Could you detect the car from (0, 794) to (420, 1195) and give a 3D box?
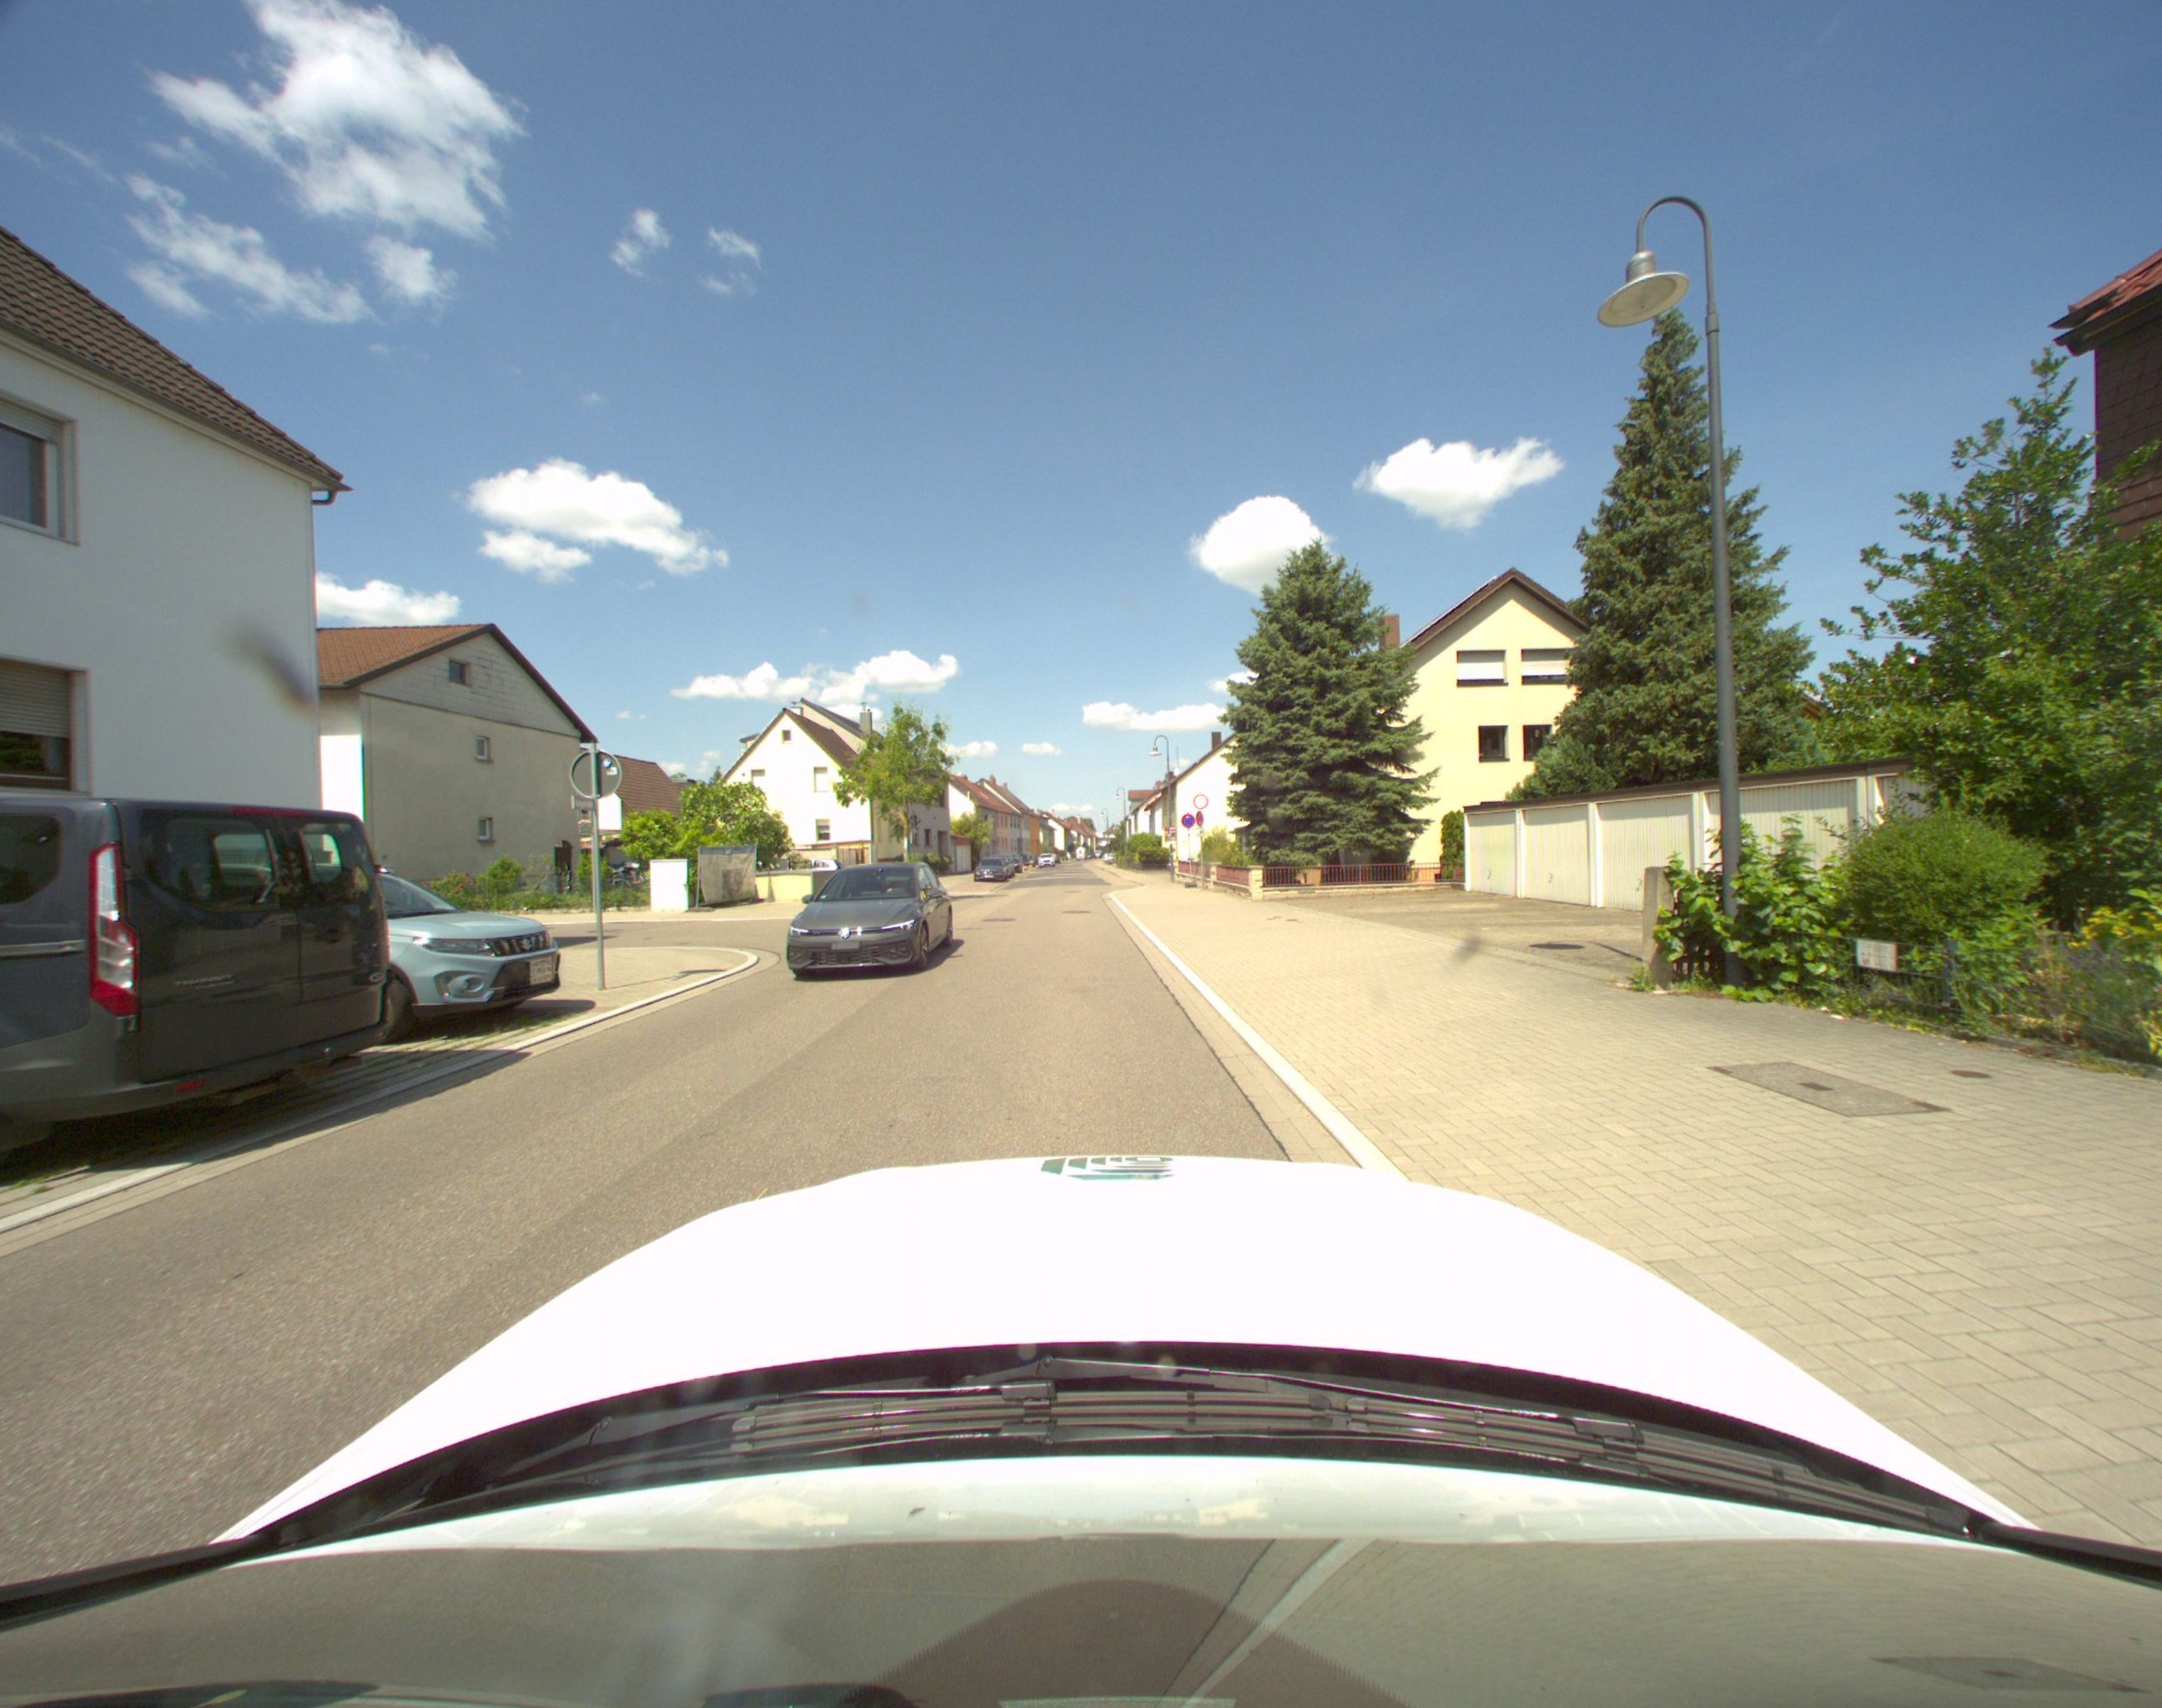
[{"bbox_3d":[-7.102,0.685,4.834,4.686,1.923,1.937,0,-1,-1],"label":"car"}]

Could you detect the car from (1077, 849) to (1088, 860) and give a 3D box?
[{"bbox_3d":[0.286,0.161,168.450,2.036,2.312,3.774,0,-1,3],"label":"car"}]

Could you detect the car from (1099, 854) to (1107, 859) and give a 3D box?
[{"bbox_3d":[5.114,0.602,191.709,1.684,1.341,3.774,0,-1,3],"label":"car"}]

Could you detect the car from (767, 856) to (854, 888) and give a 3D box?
[{"bbox_3d":[-12.902,0.864,38.944,3.509,1.471,1.794,0,0,3],"label":"car"}]

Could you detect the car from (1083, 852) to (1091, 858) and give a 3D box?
[{"bbox_3d":[1.493,0.263,190.829,1.684,1.504,3.774,0,-1,3],"label":"car"}]

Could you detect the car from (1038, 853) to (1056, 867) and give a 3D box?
[{"bbox_3d":[-4.064,0.749,98.851,1.842,1.659,4.002,0,0,2],"label":"car"}]

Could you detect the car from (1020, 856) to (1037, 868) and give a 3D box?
[{"bbox_3d":[-6.257,0.932,97.838,1.665,1.336,3.724,0,0,2],"label":"car"}]

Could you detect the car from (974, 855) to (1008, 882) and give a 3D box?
[{"bbox_3d":[-5.466,0.839,49.921,1.812,1.433,4.135,2,1,-3],"label":"car"}]

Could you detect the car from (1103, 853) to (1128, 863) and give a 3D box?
[{"bbox_3d":[4.857,0.568,114.820,3.512,1.464,1.628,0,-1,0],"label":"car"}]

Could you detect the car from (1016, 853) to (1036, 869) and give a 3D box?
[{"bbox_3d":[-5.727,0.747,85.676,1.805,1.609,3.999,0,0,0],"label":"car"}]

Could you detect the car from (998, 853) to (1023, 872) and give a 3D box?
[{"bbox_3d":[-6.083,0.742,70.891,1.773,1.609,3.999,0,0,0],"label":"car"}]

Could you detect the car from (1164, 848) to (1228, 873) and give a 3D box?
[{"bbox_3d":[7.686,0.428,54.701,3.974,1.473,1.746,-2,0,-1],"label":"car"}]

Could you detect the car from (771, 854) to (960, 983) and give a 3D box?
[{"bbox_3d":[-3.001,0.806,12.243,1.758,1.523,4.046,-3,0,-1],"label":"car"}]

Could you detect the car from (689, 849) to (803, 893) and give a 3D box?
[{"bbox_3d":[-14.199,0.691,34.662,3.973,1.800,2.000,0,0,0],"label":"car"}]

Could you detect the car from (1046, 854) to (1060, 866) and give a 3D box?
[{"bbox_3d":[-4.091,0.833,119.863,1.842,1.659,4.002,0,0,2],"label":"car"}]

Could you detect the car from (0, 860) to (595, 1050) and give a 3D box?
[{"bbox_3d":[-7.372,0.878,7.925,4.163,1.619,1.771,0,-1,-1],"label":"car"}]

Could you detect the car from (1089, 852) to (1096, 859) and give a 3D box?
[{"bbox_3d":[2.792,0.334,198.319,1.684,1.660,3.774,0,-1,3],"label":"car"}]
